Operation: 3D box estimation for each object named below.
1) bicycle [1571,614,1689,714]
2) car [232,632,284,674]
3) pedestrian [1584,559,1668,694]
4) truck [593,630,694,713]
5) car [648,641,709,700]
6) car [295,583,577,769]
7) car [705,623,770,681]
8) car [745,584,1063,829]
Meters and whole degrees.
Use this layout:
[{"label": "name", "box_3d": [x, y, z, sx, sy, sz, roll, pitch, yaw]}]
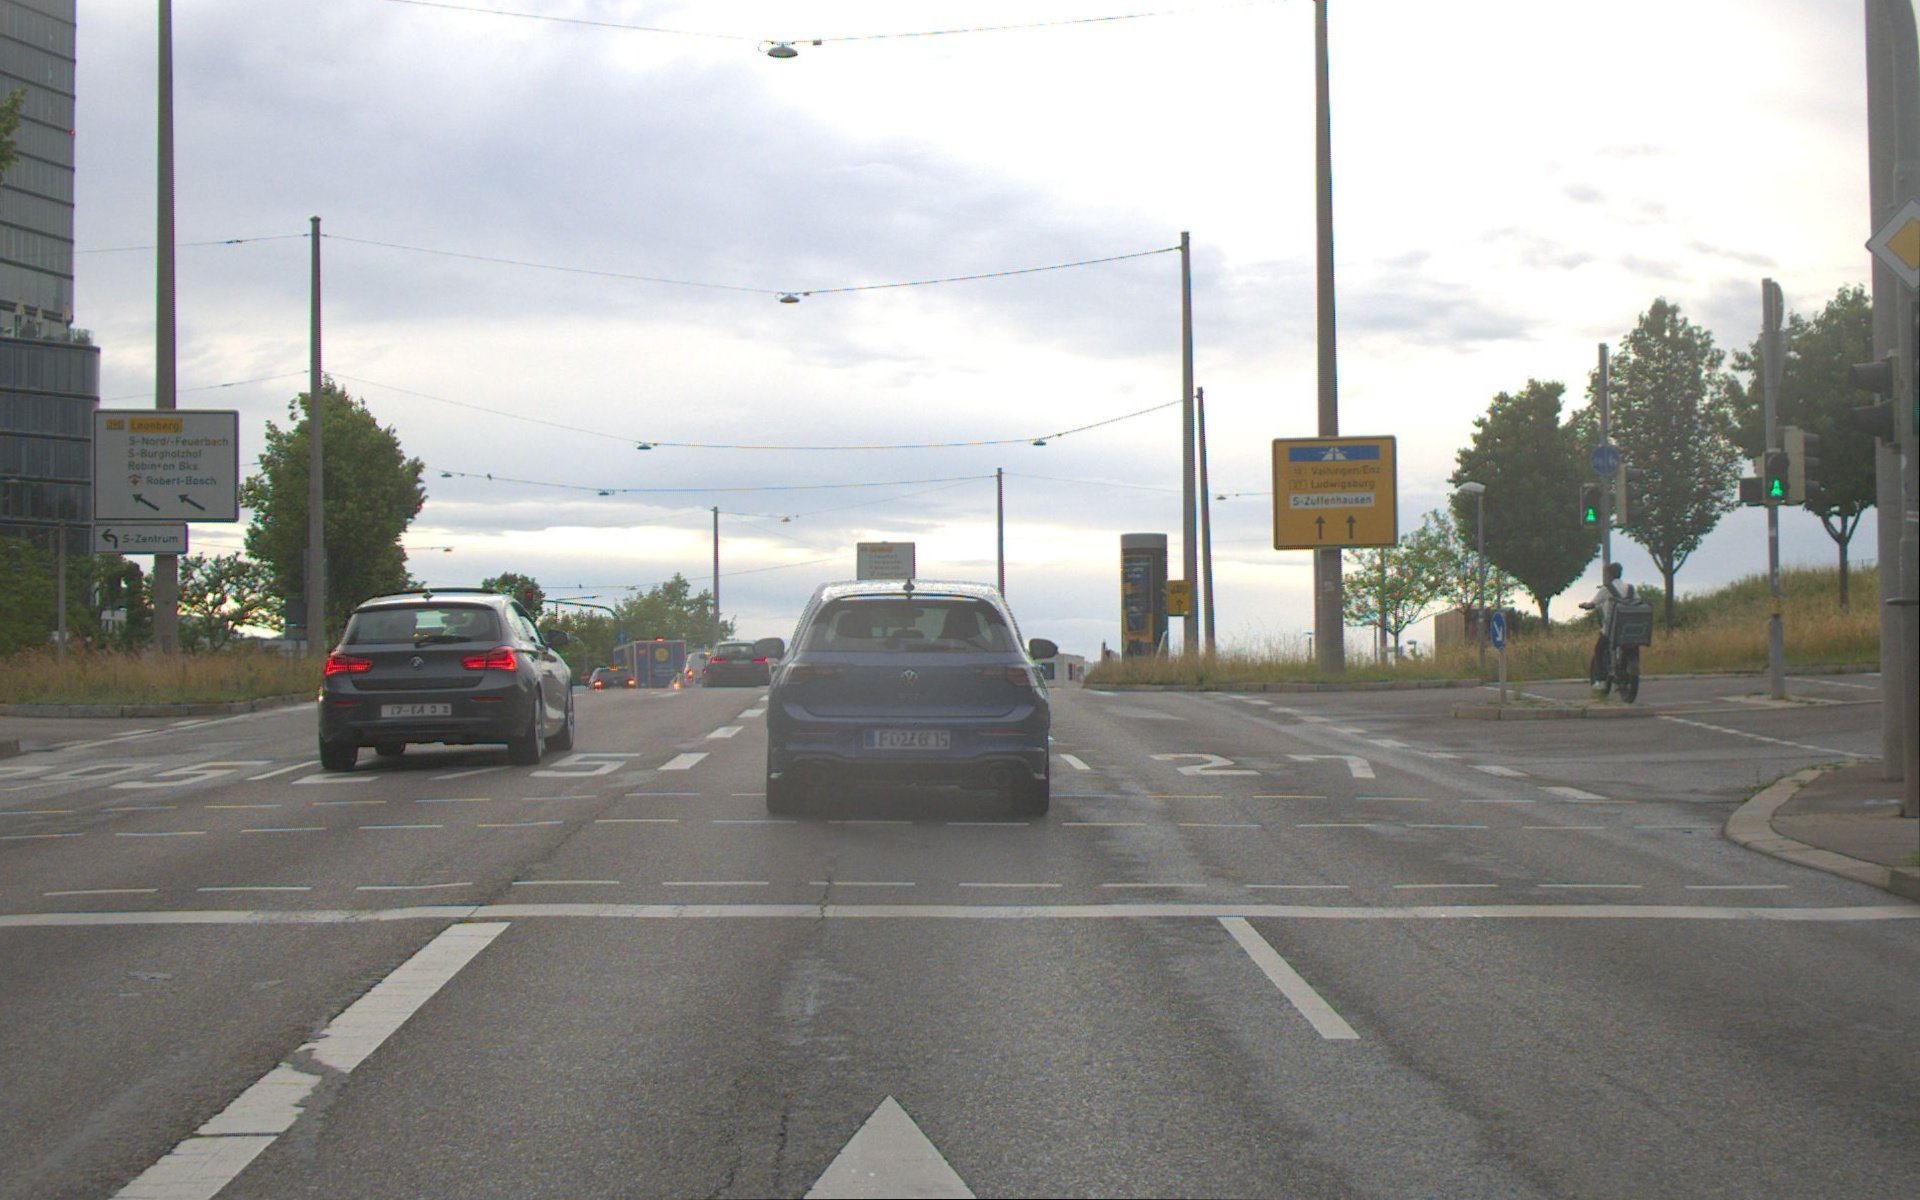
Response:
[{"label": "bicycle", "box_3d": [7.976, 0.747, 40.989, 0.632, 1.101, 1.754, -6, 1, -12]}, {"label": "car", "box_3d": [-29.504, 2.249, 144.433, 1.892, 1.653, 4.606, 1, -2, -14]}, {"label": "pedestrian", "box_3d": [7.935, 0.307, 40.982, 0.632, 1.565, 0.896, -3, 1, -11]}, {"label": "truck", "box_3d": [-13.129, 3.003, 142.200, 2.665, 3.209, 6.550, 2, -3, -18]}, {"label": "car", "box_3d": [-10.323, 2.592, 125.795, 1.904, 1.966, 5.092, 0, -3, -8]}, {"label": "car", "box_3d": [-4.359, 0.608, 29.156, 1.869, 1.456, 3.976, 0, 0, -1]}, {"label": "car", "box_3d": [-6.357, 1.471, 98.460, 1.722, 1.536, 3.704, 2, 0, -2]}, {"label": "car", "box_3d": [-0.332, 0.629, 22.393, 1.838, 1.389, 4.000, 2, 0, 0]}]
